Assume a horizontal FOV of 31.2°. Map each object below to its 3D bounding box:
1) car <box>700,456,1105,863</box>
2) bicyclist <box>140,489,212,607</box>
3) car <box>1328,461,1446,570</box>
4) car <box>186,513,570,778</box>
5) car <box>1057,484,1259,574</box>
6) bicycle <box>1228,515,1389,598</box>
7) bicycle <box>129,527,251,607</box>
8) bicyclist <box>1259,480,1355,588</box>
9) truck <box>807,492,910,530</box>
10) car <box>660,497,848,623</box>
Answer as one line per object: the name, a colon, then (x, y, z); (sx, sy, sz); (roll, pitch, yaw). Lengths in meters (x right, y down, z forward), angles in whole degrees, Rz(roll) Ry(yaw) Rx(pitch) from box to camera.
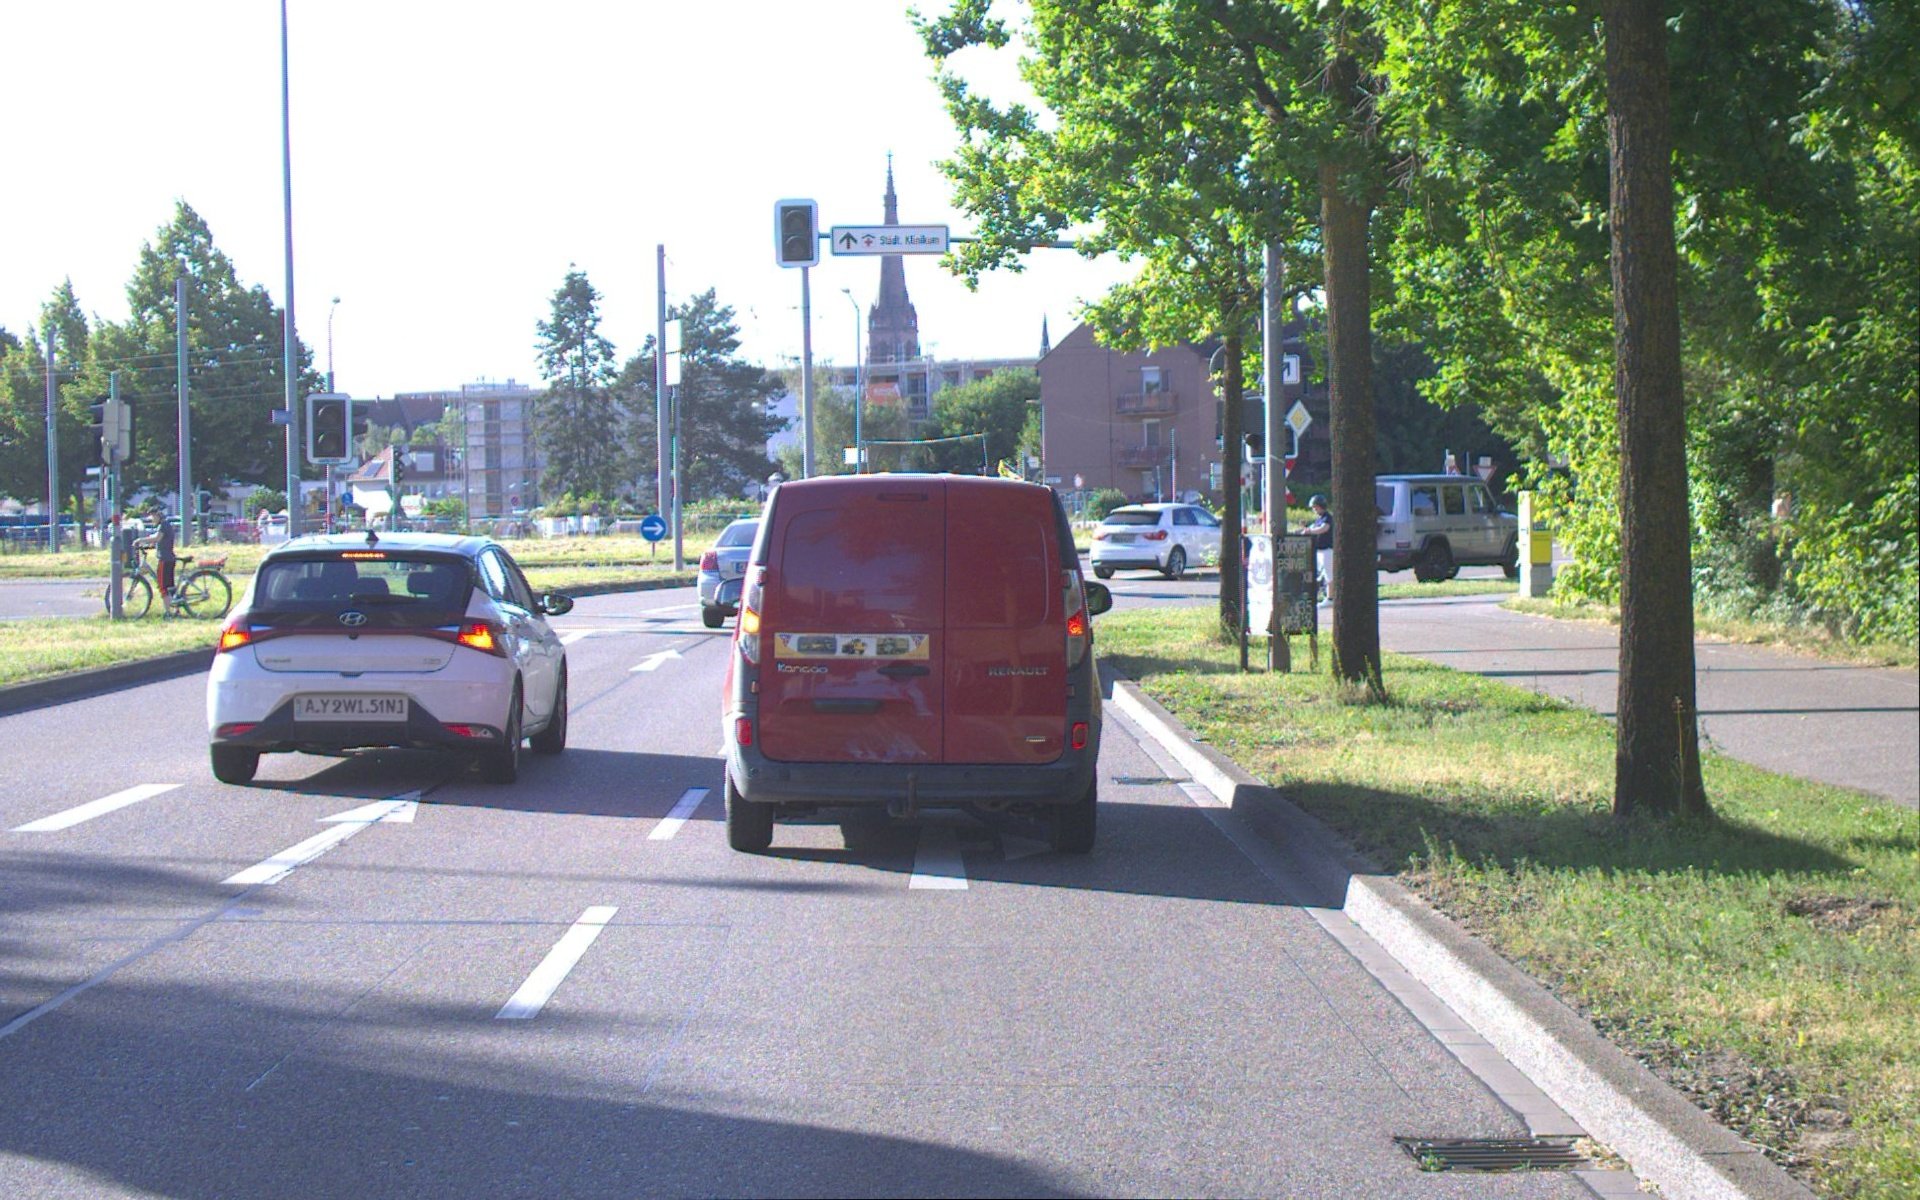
car: (-0.238, 0.221, 17.370); (1.802, 1.807, 3.810); (1, 1, 1)
bicyclist: (-11.135, -0.736, 48.829); (0.939, 1.657, 0.704); (-1, 1, -10)
car: (7.674, -1.510, 62.137); (1.997, 1.890, 4.752); (0, 1, 6)
car: (-3.451, 0.207, 21.028); (1.802, 1.456, 3.810); (1, 1, -2)
car: (3.871, -1.395, 66.495); (1.997, 1.633, 4.400); (0, 2, 32)
bicycle: (5.219, -0.654, 51.479); (2.209, 1.151, 0.876); (-3, 1, -23)
bicycle: (-10.938, -0.470, 48.875); (1.649, 1.124, 0.704); (-1, 1, -10)
bicyclist: (5.189, -0.982, 51.461); (1.084, 1.556, 0.876); (-3, 1, -23)
truck: (-5.592, -4.839, 188.329); (2.165, 2.007, 6.434); (0, 1, -39)
car: (-2.741, -0.585, 46.776); (1.994, 1.569, 4.408); (-1, 2, 4)
